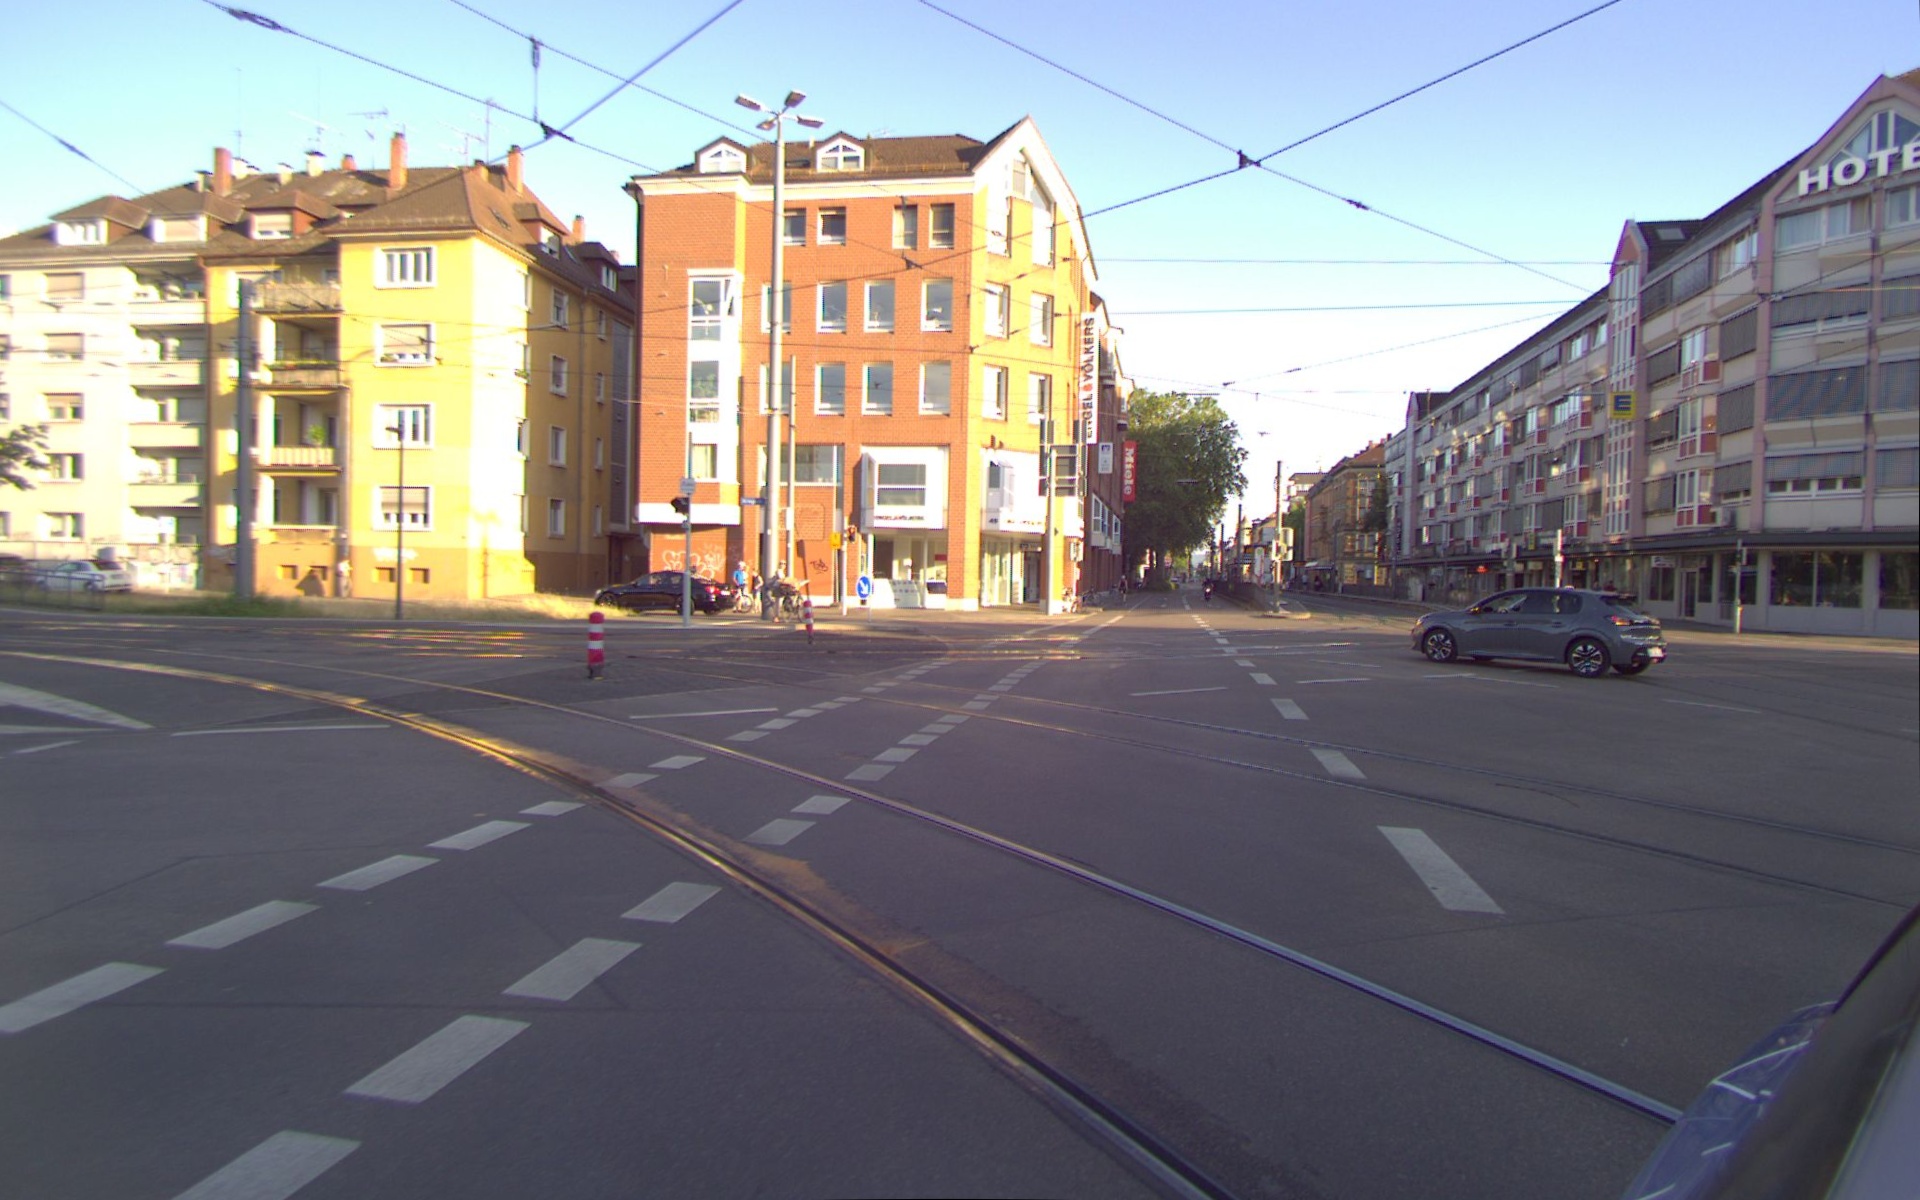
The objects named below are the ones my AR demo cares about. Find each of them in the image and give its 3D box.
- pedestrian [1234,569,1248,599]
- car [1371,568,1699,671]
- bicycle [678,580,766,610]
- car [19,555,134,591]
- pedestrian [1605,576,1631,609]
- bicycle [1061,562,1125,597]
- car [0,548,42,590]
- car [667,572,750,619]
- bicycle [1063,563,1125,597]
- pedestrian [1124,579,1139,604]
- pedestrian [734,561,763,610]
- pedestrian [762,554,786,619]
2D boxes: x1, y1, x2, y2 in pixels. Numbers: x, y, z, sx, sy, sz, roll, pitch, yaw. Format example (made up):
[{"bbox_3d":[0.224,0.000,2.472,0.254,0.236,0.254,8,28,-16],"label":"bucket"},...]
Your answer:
[{"bbox_3d":[19.164,-1.097,69.042,0.797,2.038,0.676,1,2,9],"label":"pedestrian"},{"bbox_3d":[10.018,0.246,18.026,1.881,1.522,4.704,1,2,-35],"label":"car"},{"bbox_3d":[-8.645,-0.197,36.812,3.008,1.030,0.931,1,2,3],"label":"bicycle"},{"bbox_3d":[-36.790,-1.143,42.193,3.482,1.437,1.737,1,2,7],"label":"car"},{"bbox_3d":[32.619,-0.385,50.187,0.696,1.566,0.905,2,5,9],"label":"pedestrian"},{"bbox_3d":[7.016,-1.088,53.468,3.257,1.747,1.066,1,2,12],"label":"bicycle"},{"bbox_3d":[-41.899,-1.352,42.952,4.275,1.726,2.116,1,2,7],"label":"car"},{"bbox_3d":[-8.449,-0.179,34.376,1.812,1.513,4.293,0,1,-1],"label":"car"},{"bbox_3d":[7.249,-1.100,54.611,3.255,1.747,1.066,1,2,11],"label":"bicycle"},{"bbox_3d":[13.998,-0.697,82.708,1.070,2.038,1.083,1,2,7],"label":"pedestrian"},{"bbox_3d":[-7.880,-0.556,37.701,0.857,1.800,0.917,1,2,3],"label":"pedestrian"},{"bbox_3d":[-5.036,-0.374,27.415,0.507,1.729,0.418,1,1,9],"label":"pedestrian"}]
